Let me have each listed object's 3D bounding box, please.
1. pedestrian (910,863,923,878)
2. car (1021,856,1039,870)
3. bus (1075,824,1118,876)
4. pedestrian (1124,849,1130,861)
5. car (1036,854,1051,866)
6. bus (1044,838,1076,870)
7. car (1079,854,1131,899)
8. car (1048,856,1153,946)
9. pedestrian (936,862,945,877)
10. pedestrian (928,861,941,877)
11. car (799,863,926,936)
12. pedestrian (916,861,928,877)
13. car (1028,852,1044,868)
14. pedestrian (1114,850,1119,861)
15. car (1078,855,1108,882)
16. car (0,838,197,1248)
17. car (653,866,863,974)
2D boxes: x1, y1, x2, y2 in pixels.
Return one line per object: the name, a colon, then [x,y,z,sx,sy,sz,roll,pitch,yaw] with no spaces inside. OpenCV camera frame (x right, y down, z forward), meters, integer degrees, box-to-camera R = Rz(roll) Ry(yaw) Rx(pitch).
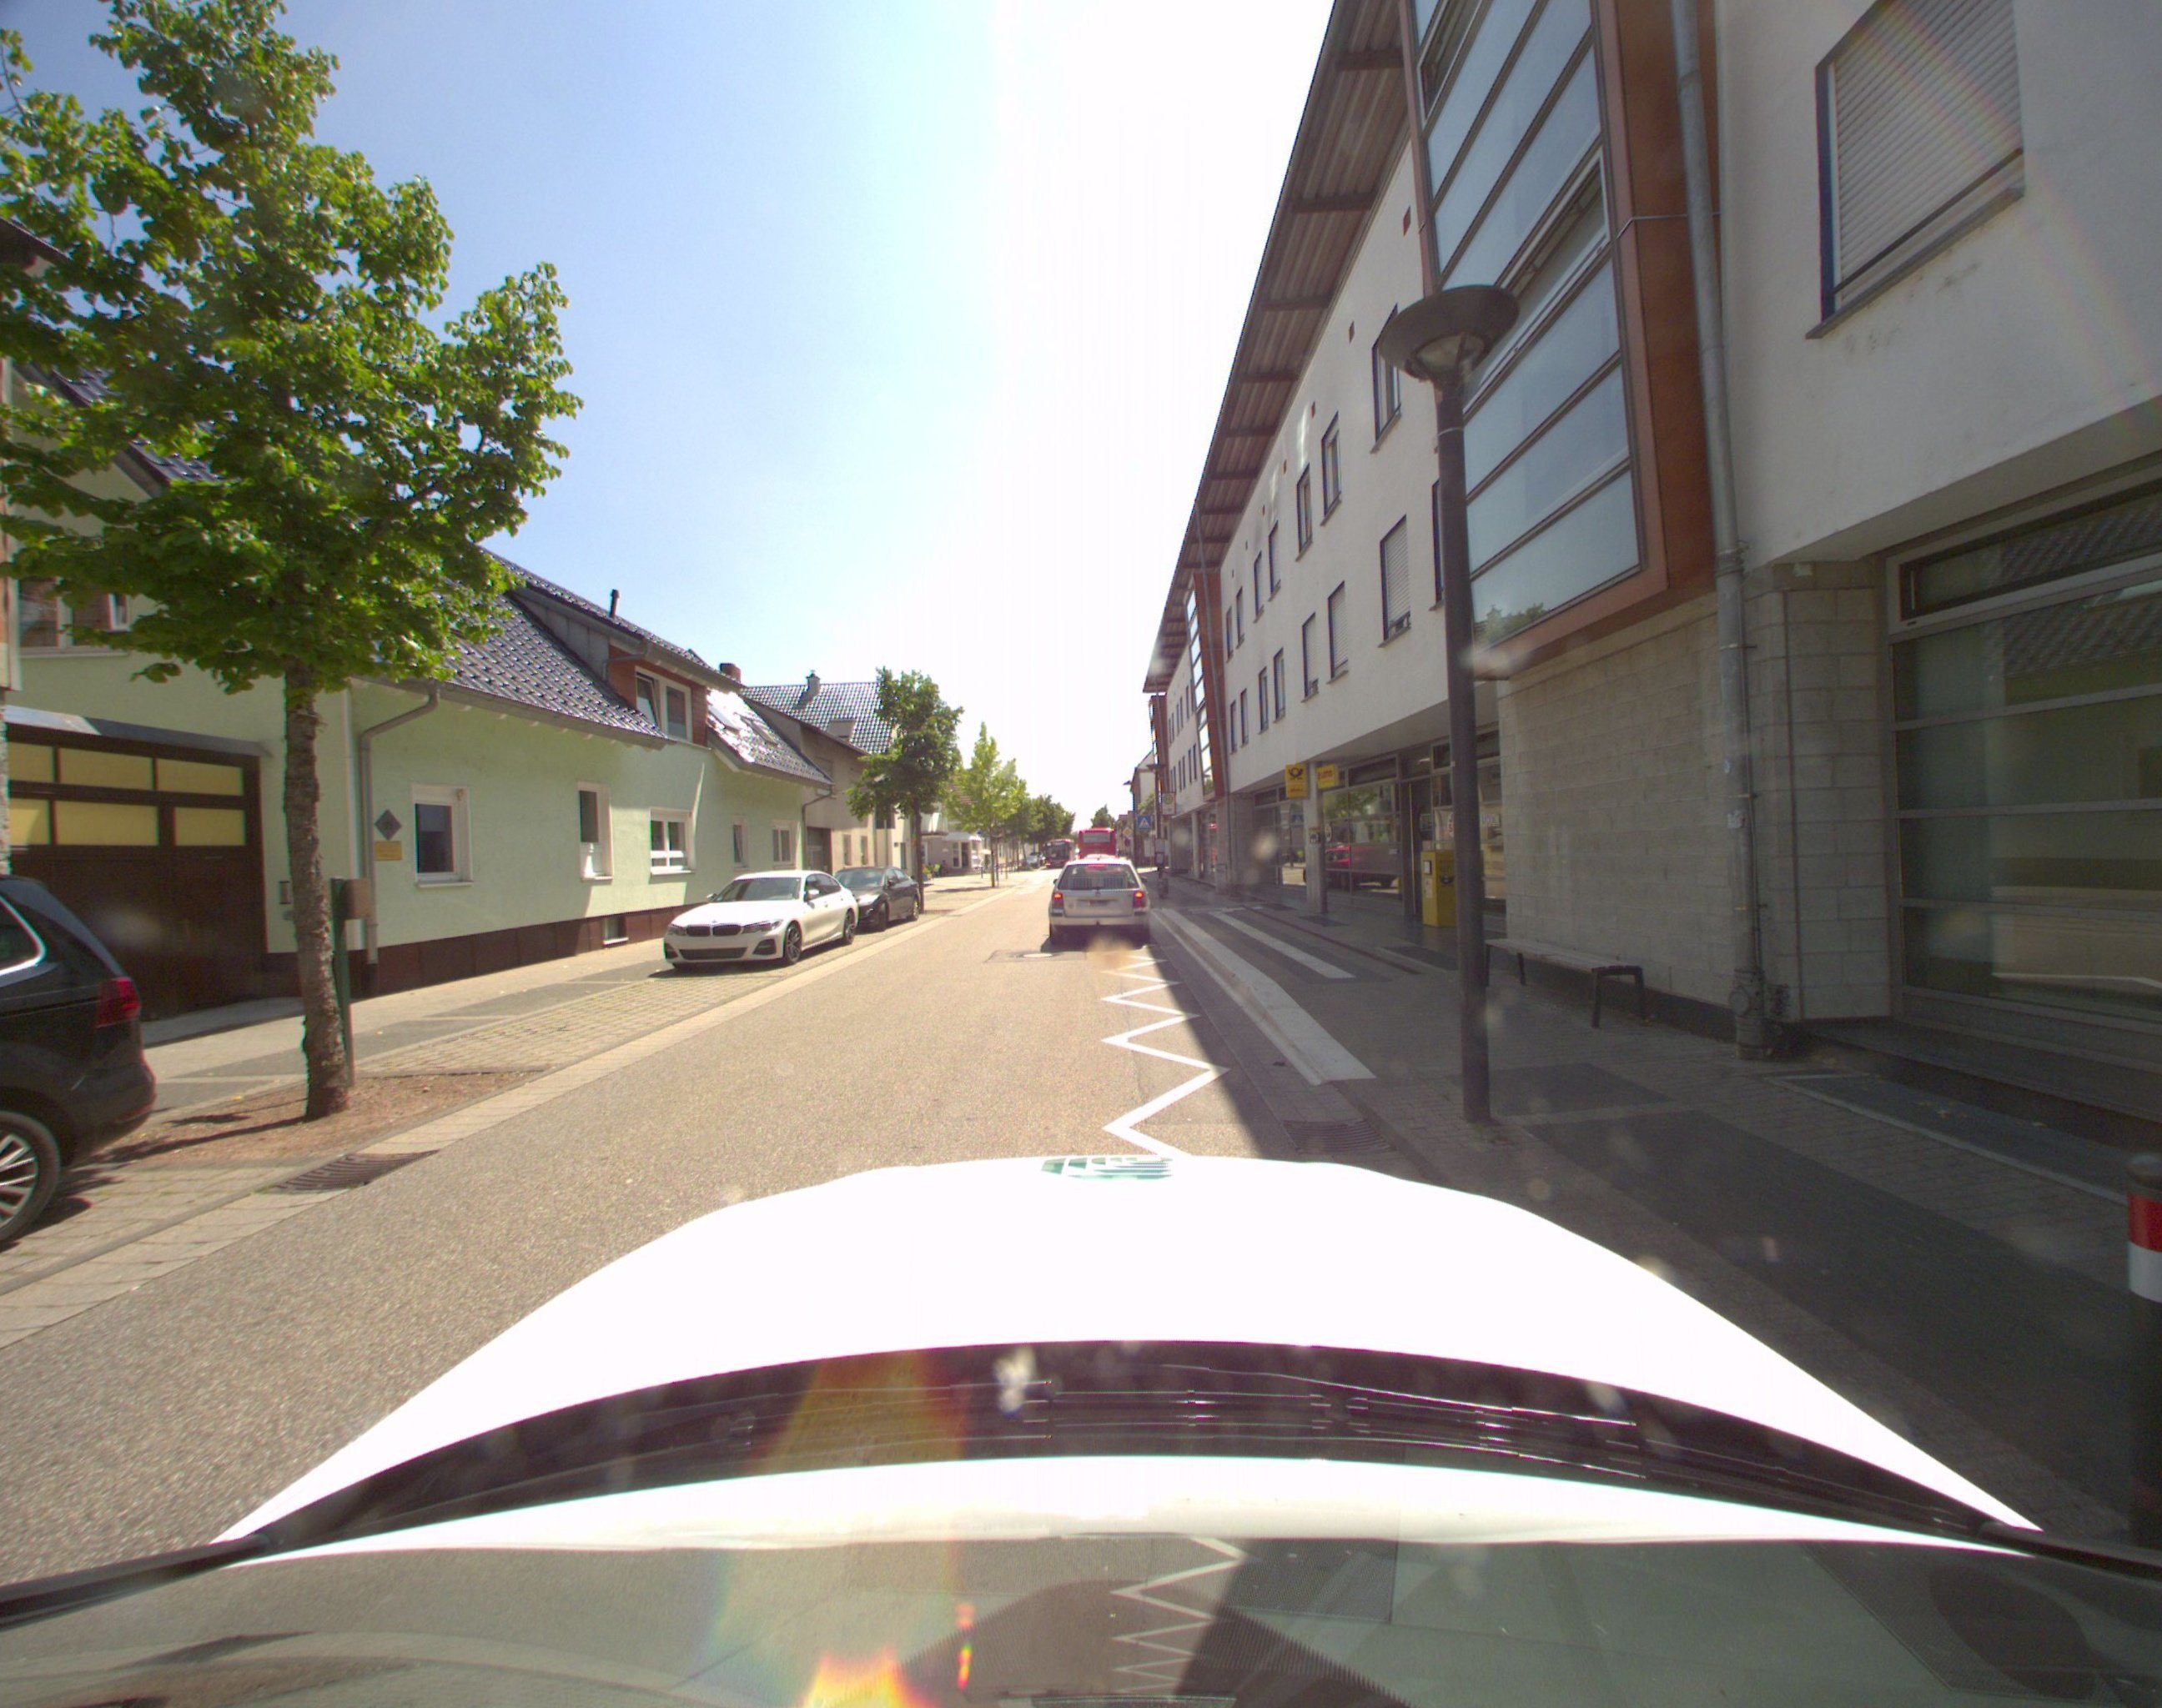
pedestrian: [-12.695,1.285,62.901,0.639,1.116,0.780,1,-1,-43]
car: [-5.507,0.983,88.333,1.600,1.438,4.065,-2,0,0]
bus: [0.963,-0.237,59.270,2.732,3.298,12.700,-1,0,-1]
pedestrian: [6.371,0.177,112.863,0.604,1.667,0.789,-2,0,-1]
car: [-5.254,0.874,114.649,1.805,1.559,4.000,-2,0,0]
bus: [-2.254,-0.090,93.158,2.659,3.123,17.809,-4,0,1]
car: [0.815,0.733,28.201,1.671,1.430,3.680,0,0,1]
car: [0.335,0.753,14.886,1.671,1.430,3.680,0,0,1]
pedestrian: [-11.144,1.248,64.687,0.620,1.179,0.696,-2,0,-4]
pedestrian: [-11.453,1.163,63.620,0.639,1.289,0.780,1,-1,-43]
car: [-5.064,0.988,19.518,1.654,1.437,4.540,-2,0,2]
pedestrian: [-12.455,1.162,63.787,0.639,1.289,0.780,1,-1,-43]
car: [-5.558,0.749,100.776,1.759,1.838,3.789,-2,0,0]
pedestrian: [5.172,0.206,117.734,0.604,1.667,0.789,-2,0,-1]
car: [0.686,0.759,44.589,1.588,1.430,3.681,-1,0,2]
car: [-5.483,0.831,1.922,1.769,1.726,4.520,-2,0,1]
car: [-5.218,0.969,13.878,1.714,1.437,4.460,-1,0,1]
